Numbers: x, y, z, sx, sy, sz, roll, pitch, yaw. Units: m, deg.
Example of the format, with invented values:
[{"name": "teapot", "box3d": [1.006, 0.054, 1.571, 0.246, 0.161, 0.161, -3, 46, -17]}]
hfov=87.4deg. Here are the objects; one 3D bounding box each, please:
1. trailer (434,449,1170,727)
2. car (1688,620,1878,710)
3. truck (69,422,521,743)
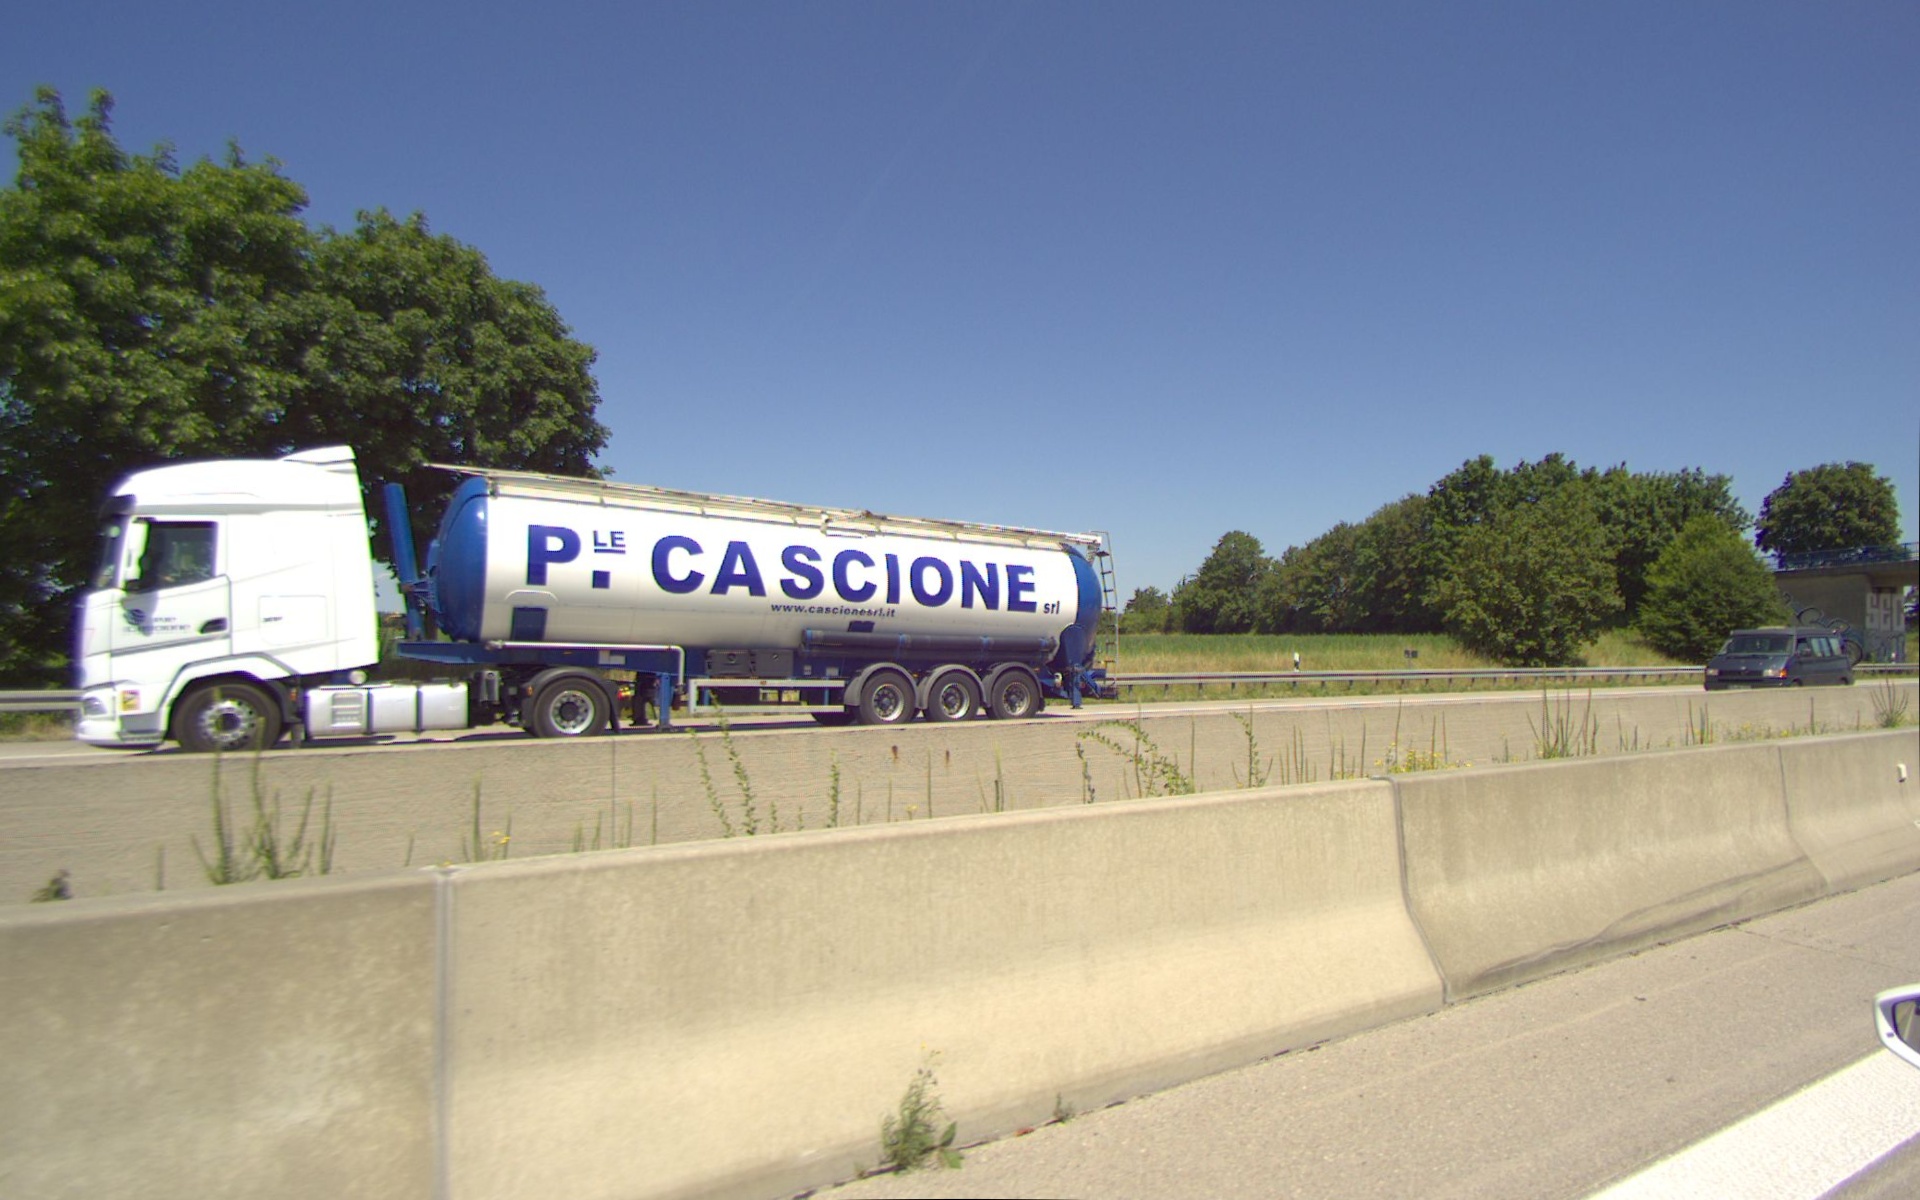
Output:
[{"name": "trailer", "box3d": [-1.997, -0.044, 17.635, 12.706, 3.679, 2.561, 1, 0, -31]}, {"name": "car", "box3d": [21.843, 1.670, 26.607, 5.813, 2.166, 1.984, 1, -3, -31]}, {"name": "truck", "box3d": [-8.688, -0.164, 13.683, 4.664, 3.637, 2.589, 1, 0, -30]}]
